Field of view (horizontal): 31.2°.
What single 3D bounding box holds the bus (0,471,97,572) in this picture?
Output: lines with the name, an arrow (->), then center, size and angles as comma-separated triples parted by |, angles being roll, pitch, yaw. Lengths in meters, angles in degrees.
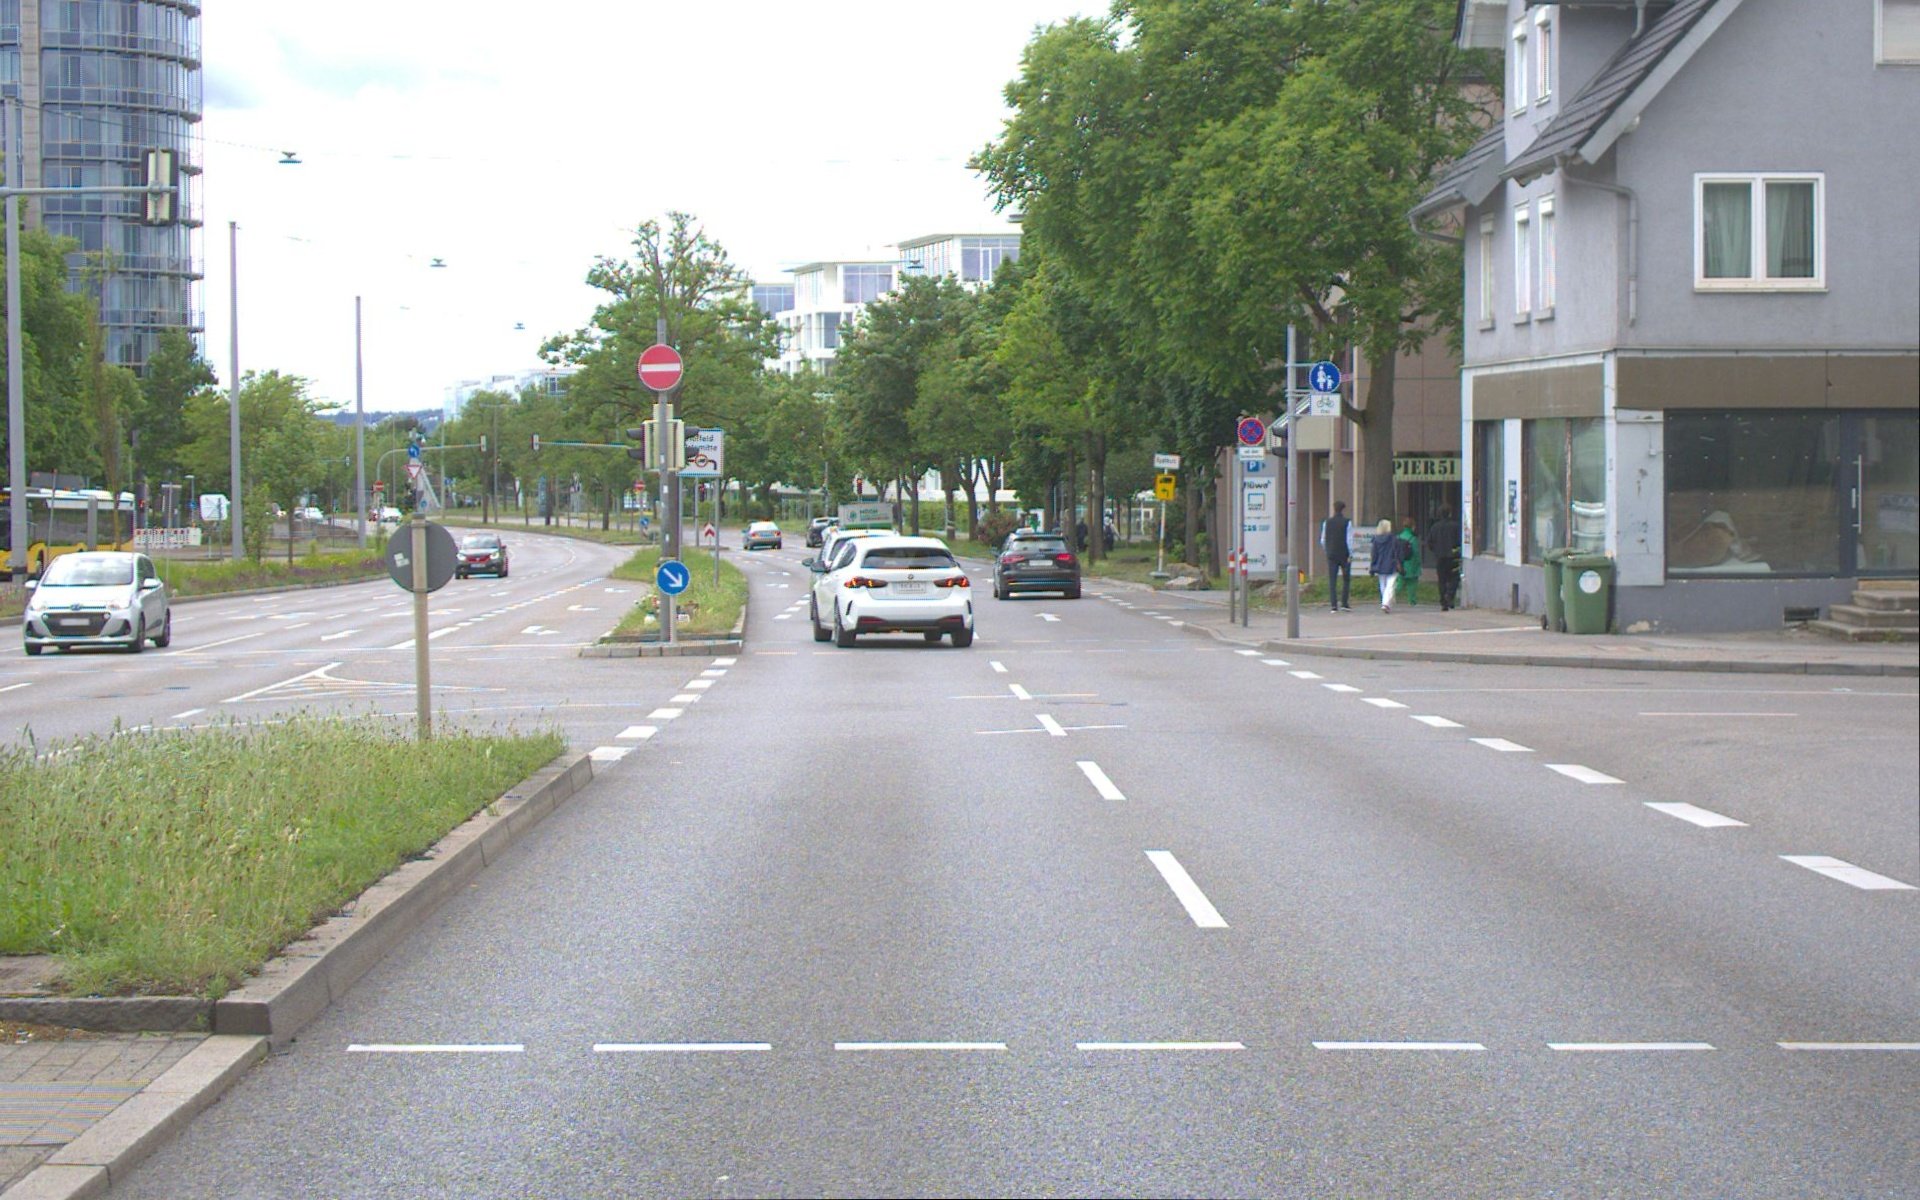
bus -> -31.398, -2.575, 114.461 | 3.144, 3.214, 10.286 | -1, 1, -3

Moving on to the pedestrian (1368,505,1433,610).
pedestrian -> 7.550, -0.732, 58.904 | 0.868, 1.773, 0.707 | -1, 1, -43

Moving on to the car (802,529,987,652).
car -> -0.941, -0.175, 46.694 | 1.993, 1.472, 4.258 | -1, 3, -8

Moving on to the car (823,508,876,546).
car -> -5.312, -3.488, 165.063 | 2.251, 1.751, 4.934 | -1, 1, -5

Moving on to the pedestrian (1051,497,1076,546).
pedestrian -> 4.338, -3.274, 143.795 | 0.971, 2.007, 0.981 | 1, 0, -1

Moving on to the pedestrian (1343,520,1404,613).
pedestrian -> 6.732, -0.543, 55.979 | 0.706, 1.502, 0.869 | 0, 1, 29

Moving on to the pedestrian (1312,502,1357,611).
pedestrian -> 6.181, -0.723, 56.794 | 0.705, 1.773, 0.870 | -1, 1, 5

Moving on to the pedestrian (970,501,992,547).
pedestrian -> 1.052, -3.793, 171.745 | 0.930, 2.300, 1.011 | 1, 0, -10

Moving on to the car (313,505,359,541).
car -> -36.336, -4.478, 200.258 | 1.965, 2.007, 4.000 | 1, 1, -1

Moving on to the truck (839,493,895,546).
truck -> -4.266, -3.655, 156.465 | 2.251, 2.408, 4.934 | 0, 1, -5

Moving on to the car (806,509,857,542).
car -> -6.508, -3.753, 173.856 | 2.250, 1.641, 4.934 | -1, 1, -5

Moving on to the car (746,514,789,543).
car -> -9.693, -3.607, 173.149 | 1.967, 1.415, 4.023 | -1, 1, -5

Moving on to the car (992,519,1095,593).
car -> 1.761, -0.933, 73.675 | 1.889, 1.489, 4.099 | -1, 0, -2

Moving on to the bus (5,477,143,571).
bus -> -31.736, -2.717, 123.465 | 3.144, 3.214, 7.766 | -1, 1, -2

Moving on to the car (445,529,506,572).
car -> -17.077, -1.746, 121.215 | 1.702, 1.487, 3.562 | -1, 1, -1

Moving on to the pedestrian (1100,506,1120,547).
pedestrian -> 5.706, -2.793, 130.782 | 0.650, 1.564, 0.671 | -1, 1, -8

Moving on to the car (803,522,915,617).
car -> -1.693, -0.534, 58.581 | 1.822, 1.535, 4.114 | -1, 1, -1

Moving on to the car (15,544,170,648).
car -> -12.805, -0.090, 50.921 | 1.684, 1.457, 3.556 | -1, 1, -5

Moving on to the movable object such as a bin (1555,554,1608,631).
movable object such as a bin -> 7.959, -0.102, 44.046 | 0.529, 0.976, 0.736 | -1, 1, -1

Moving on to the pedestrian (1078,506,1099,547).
pedestrian -> 4.891, -2.791, 130.738 | 0.650, 1.564, 0.671 | -1, 1, -8

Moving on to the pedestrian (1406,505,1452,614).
pedestrian -> 7.639, -0.661, 55.945 | 0.705, 1.754, 1.052 | 0, 1, 9

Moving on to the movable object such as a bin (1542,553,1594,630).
movable object such as a bin -> 7.931, -0.116, 44.836 | 0.529, 0.976, 0.736 | -1, 1, -1
